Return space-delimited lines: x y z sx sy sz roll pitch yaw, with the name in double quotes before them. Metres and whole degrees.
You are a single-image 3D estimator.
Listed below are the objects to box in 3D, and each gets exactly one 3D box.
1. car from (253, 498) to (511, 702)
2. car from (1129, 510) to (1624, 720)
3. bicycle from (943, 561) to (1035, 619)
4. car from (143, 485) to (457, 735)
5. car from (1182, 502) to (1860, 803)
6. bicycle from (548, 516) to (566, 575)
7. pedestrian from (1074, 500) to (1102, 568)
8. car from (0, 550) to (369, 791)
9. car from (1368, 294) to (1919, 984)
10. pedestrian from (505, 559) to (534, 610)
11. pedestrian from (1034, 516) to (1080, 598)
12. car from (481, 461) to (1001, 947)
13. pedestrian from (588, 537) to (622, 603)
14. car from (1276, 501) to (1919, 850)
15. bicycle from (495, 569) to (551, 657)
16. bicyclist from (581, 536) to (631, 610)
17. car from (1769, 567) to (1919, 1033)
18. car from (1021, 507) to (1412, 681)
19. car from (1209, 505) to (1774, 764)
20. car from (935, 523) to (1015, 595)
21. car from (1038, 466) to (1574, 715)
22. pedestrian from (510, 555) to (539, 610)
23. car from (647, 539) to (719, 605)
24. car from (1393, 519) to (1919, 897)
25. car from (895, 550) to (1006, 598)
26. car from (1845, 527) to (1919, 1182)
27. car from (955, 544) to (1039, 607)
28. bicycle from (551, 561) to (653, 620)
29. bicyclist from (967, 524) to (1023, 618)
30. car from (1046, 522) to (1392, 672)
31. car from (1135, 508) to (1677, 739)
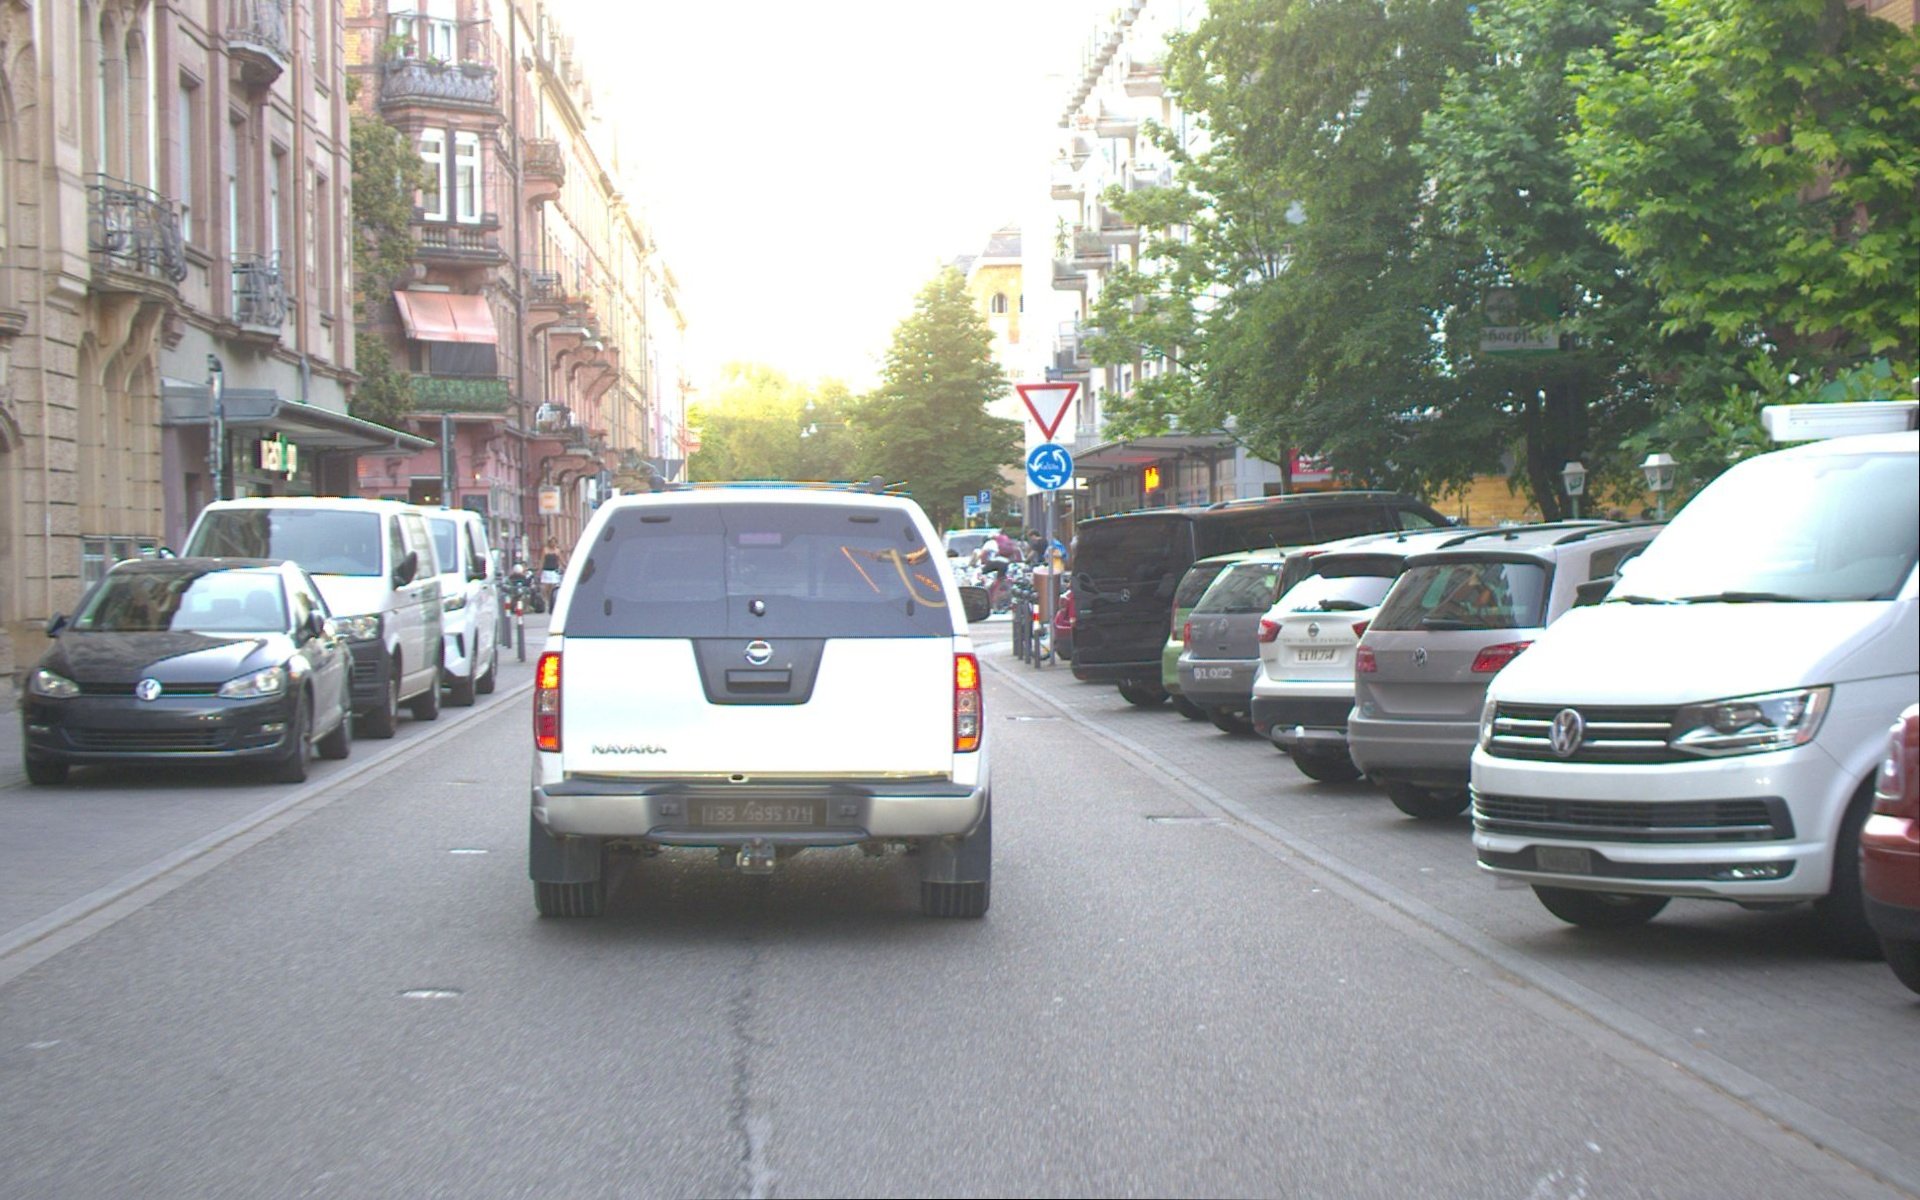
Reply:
"car" -5.805 -0.034 35.091 2.109 1.915 5.026 0 1 -4
"car" 3.722 0.101 30.489 4.096 1.546 1.818 -4 2 -34
"bicycle" 0.596 -0.212 71.399 0.838 1.167 1.935 0 0 -41
"car" -5.452 0.044 28.971 1.837 1.915 4.846 0 1 -2
"car" 3.661 0.284 22.207 4.096 1.585 1.818 -4 2 -33
"bicycle" -9.968 -1.347 84.970 0.424 1.437 1.905 1 0 -7
"pedestrian" 3.641 -1.862 97.565 0.720 1.900 0.702 1 0 -2
"car" -5.111 0.403 23.167 1.836 1.466 4.173 0 1 -4
"car" 4.262 0.050 13.760 4.922 2.354 2.000 -2 1 -28
"pedestrian" -10.315 -0.362 80.472 0.648 1.187 0.540 1 0 -6
"pedestrian" 2.055 -0.915 73.006 0.903 1.730 0.616 1 0 -5
"car" -0.818 0.379 15.413 1.938 1.804 5.001 1 0 0
"pedestrian" -8.770 -0.730 85.005 0.797 1.615 0.945 1 0 -5
"car" 4.027 0.336 19.299 4.154 1.585 1.886 -4 3 -33
"bicycle" -5.757 0.169 45.374 0.471 1.138 1.785 1 0 1
"bicyclist" -7.084 -0.535 68.842 0.871 1.461 0.576 1 0 8
"car" 4.652 0.544 11.224 3.855 1.403 1.758 -2 0 -35
"car" 2.950 -0.095 39.072 4.213 1.682 1.932 -5 2 -40
"car" 3.987 0.210 25.432 4.097 1.585 1.818 -5 2 -40
"car" 0.390 -1.117 95.496 1.942 1.927 4.000 1 0 -3
"car" 3.486 -0.146 33.818 5.422 2.065 1.932 -5 2 -40
"pedestrian" -10.339 -0.415 81.658 0.648 1.281 0.540 1 0 -6
"car" -7.452 -0.750 92.704 1.834 1.744 4.000 1 0 -3
"car" 4.347 0.413 16.646 4.153 1.585 1.886 -2 1 -31
"car" -0.350 -0.956 126.832 3.986 1.744 1.841 1 0 -3
"car" 4.235 0.535 8.205 3.854 1.511 1.848 -2 1 -28
"car" 0.917 -0.615 86.732 1.834 1.536 4.000 1 0 -3
"bicycle" -7.162 -0.189 68.849 1.930 1.167 0.596 1 0 8
"bicyclist" 0.724 -0.595 71.263 0.838 1.937 0.784 1 0 -42
"car" 3.216 -0.073 42.423 4.036 1.622 1.693 -3 3 -34
"car" 3.638 0.151 27.805 4.096 1.546 1.818 -4 2 -34
